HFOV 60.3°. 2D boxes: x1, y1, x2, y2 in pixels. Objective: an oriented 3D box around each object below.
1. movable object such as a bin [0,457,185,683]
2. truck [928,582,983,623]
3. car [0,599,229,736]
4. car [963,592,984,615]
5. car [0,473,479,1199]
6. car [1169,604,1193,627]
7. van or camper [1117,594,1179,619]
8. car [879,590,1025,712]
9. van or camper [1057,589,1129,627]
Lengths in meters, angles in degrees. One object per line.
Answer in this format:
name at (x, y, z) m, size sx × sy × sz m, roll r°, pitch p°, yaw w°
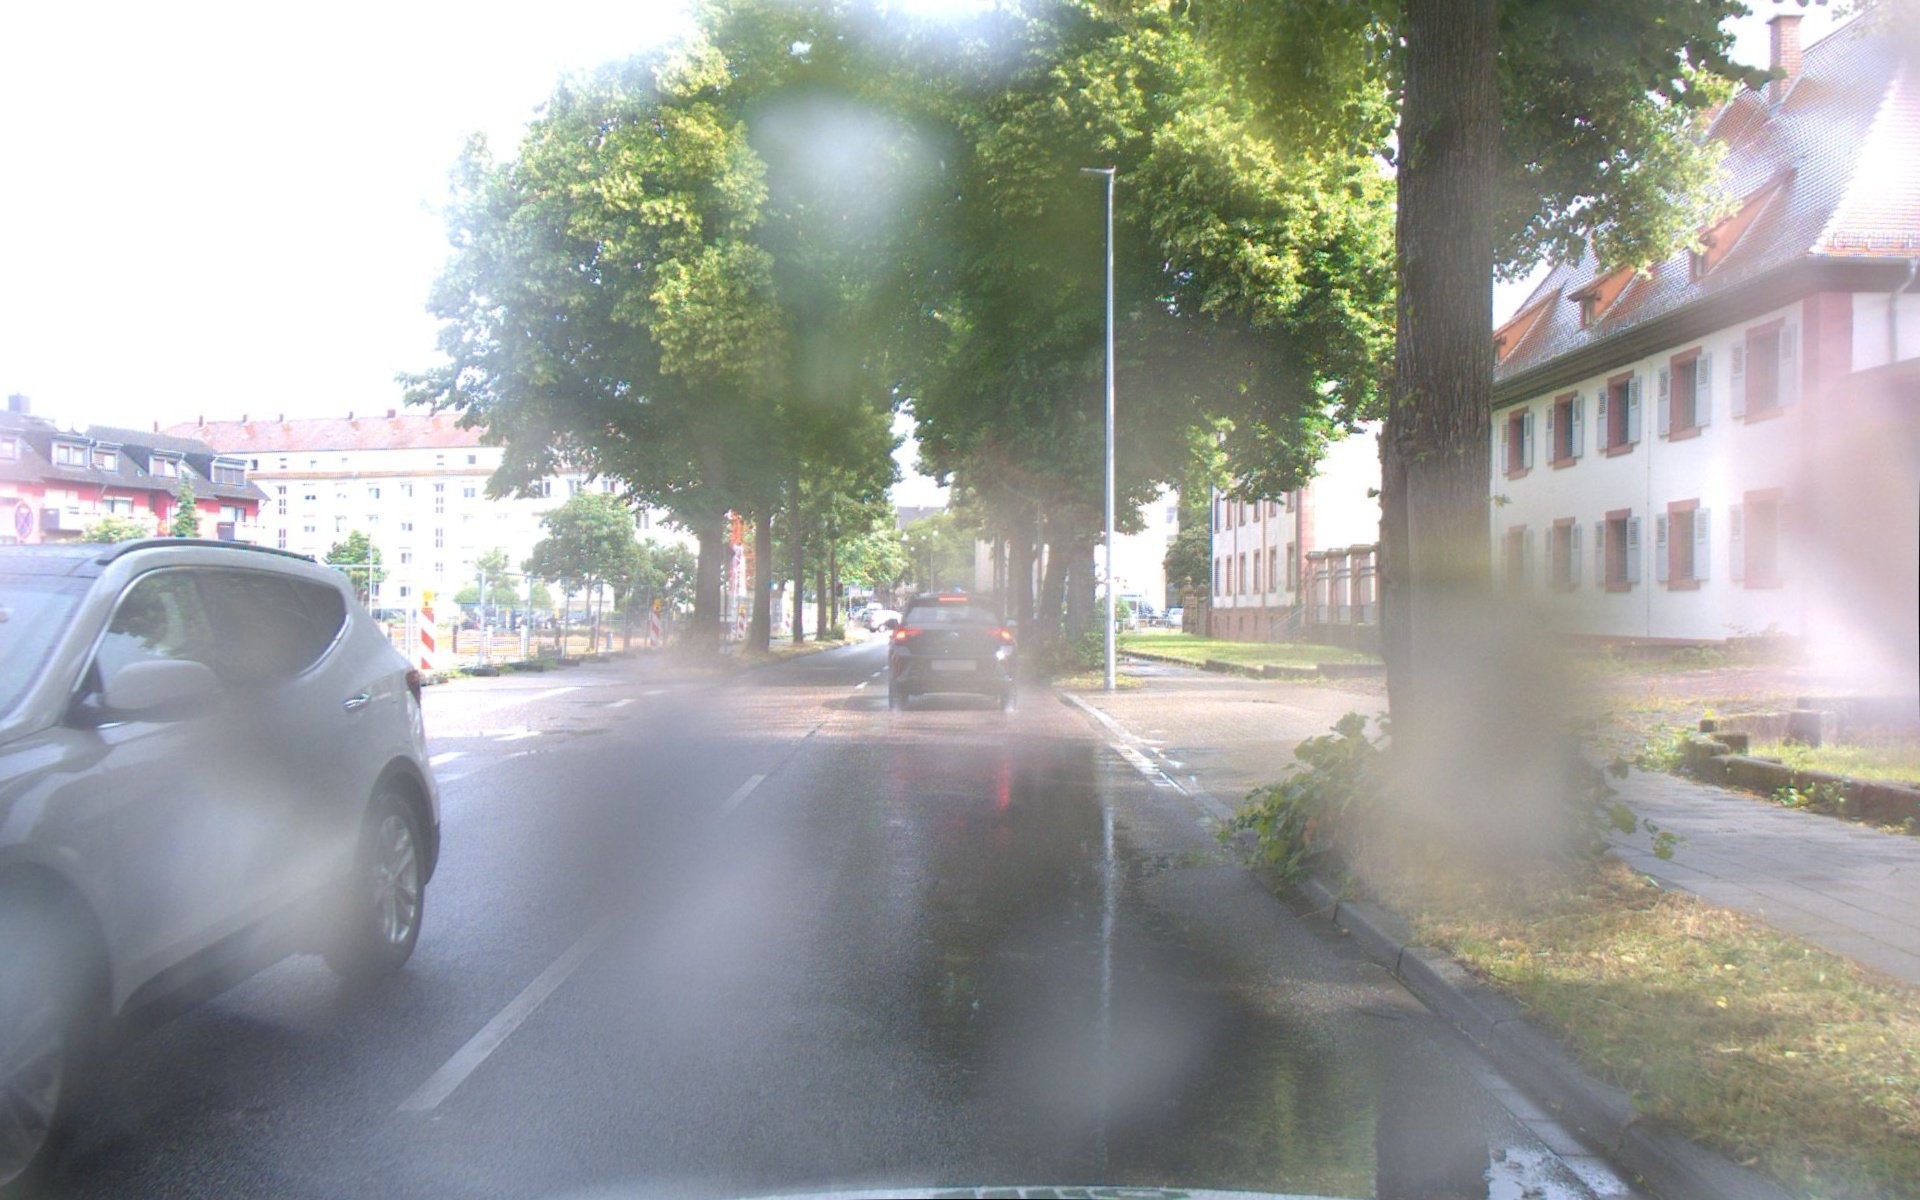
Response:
movable object such as a bin at (-20.922, -0.633, 32.634) m, size 9.608 × 4.187 × 3.367 m, roll 1°, pitch 0°, yaw 1°
truck at (-0.359, 0.121, 115.043) m, size 2.752 × 2.703 × 8.226 m, roll 1°, pitch 0°, yaw -8°
car at (-11.006, 0.784, 20.046) m, size 3.528 × 1.560 × 1.739 m, roll 0°, pitch 0°, yaw 7°
car at (1.353, 0.349, 164.090) m, size 1.952 × 2.049 × 4.000 m, roll 1°, pitch -2°, yaw 2°
car at (-3.040, 0.595, 5.131) m, size 1.848 × 1.743 × 4.229 m, roll 0°, pitch 0°, yaw 0°
car at (17.579, 1.252, 131.887) m, size 1.706 × 1.713 × 3.872 m, roll -3°, pitch -1°, yaw 6°
van or camper at (15.443, 0.522, 136.002) m, size 4.775 × 1.959 × 2.131 m, roll 1°, pitch 0°, yaw 0°
car at (-0.175, 0.669, 23.334) m, size 1.856 × 1.549 × 3.998 m, roll 1°, pitch 0°, yaw -2°
van or camper at (9.500, 0.569, 118.402) m, size 4.931 × 2.641 × 2.167 m, roll 0°, pitch -1°, yaw -2°
